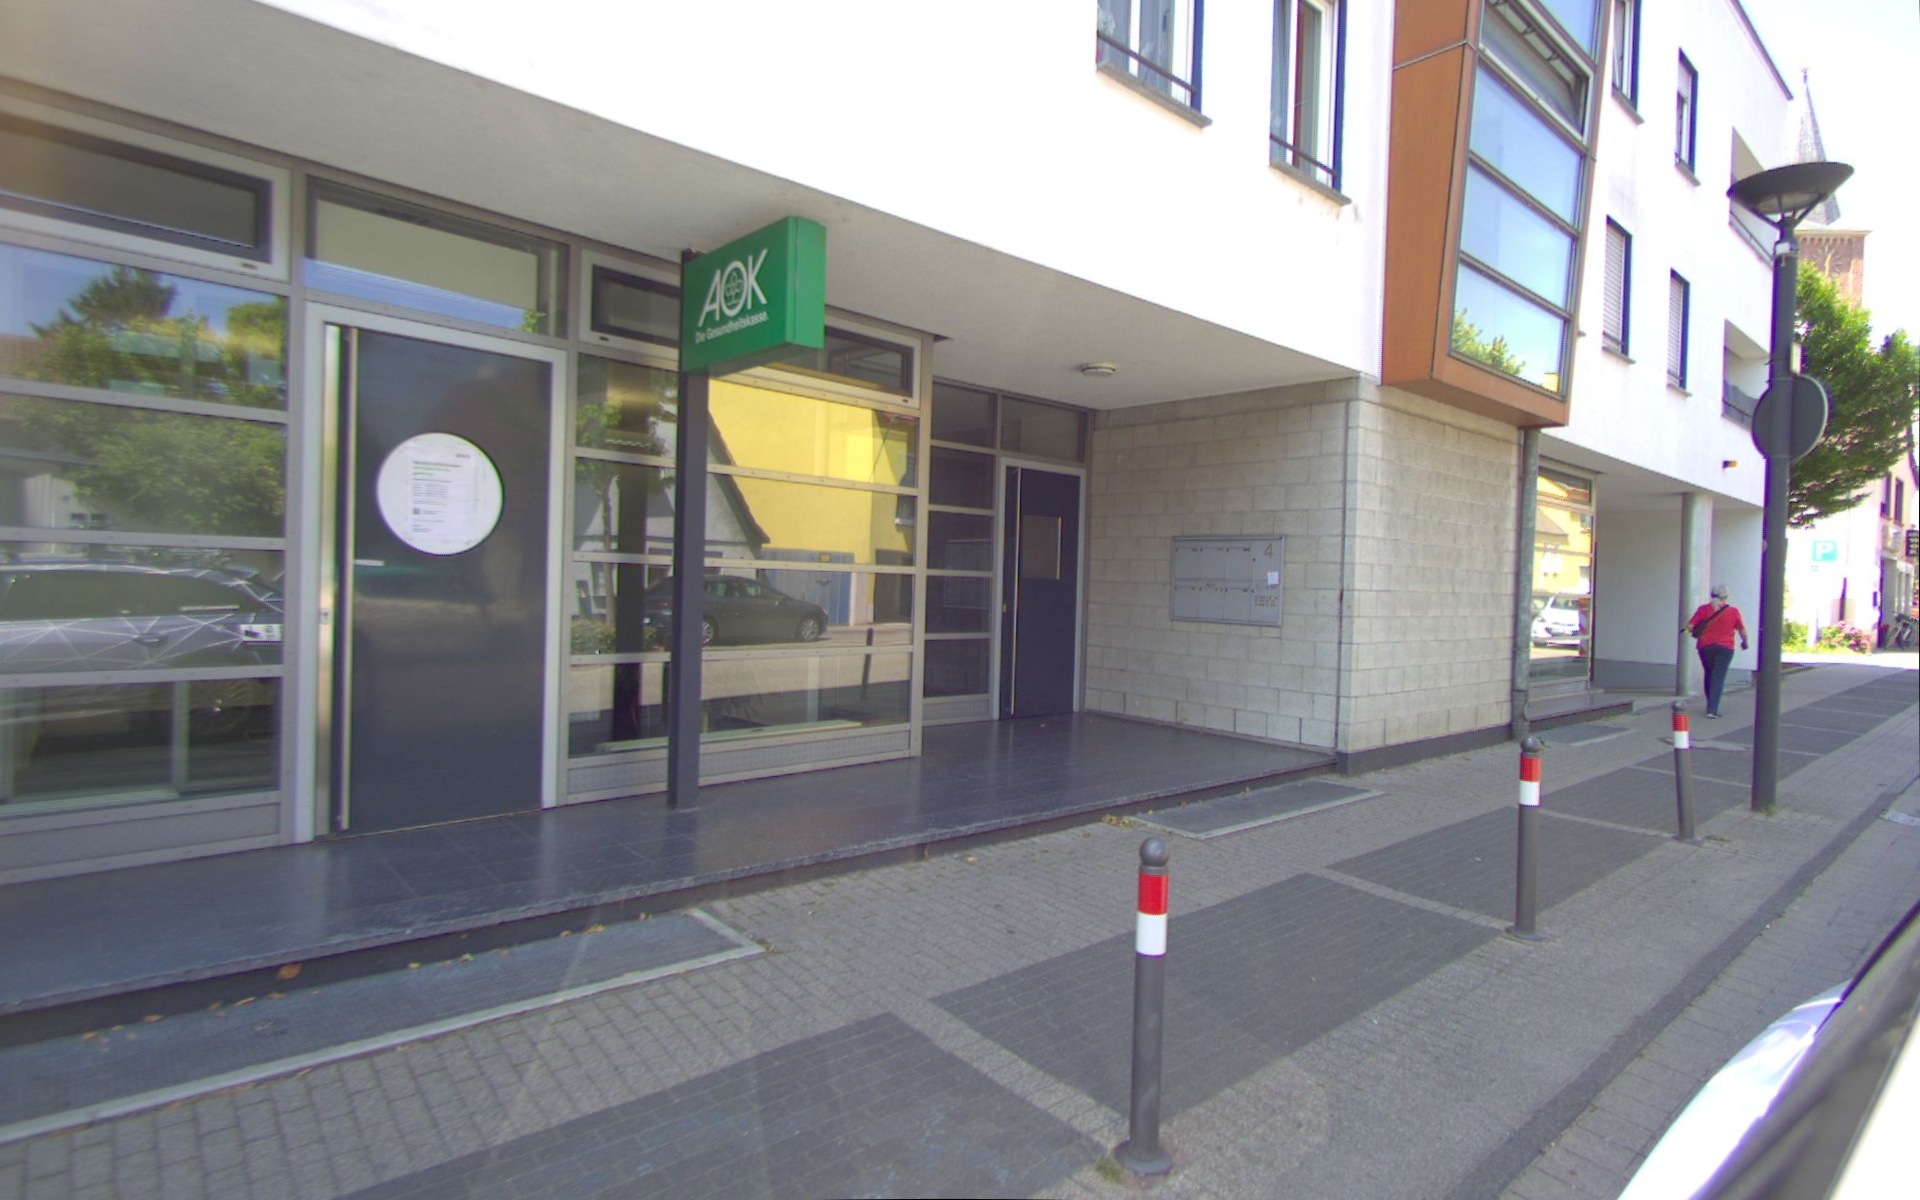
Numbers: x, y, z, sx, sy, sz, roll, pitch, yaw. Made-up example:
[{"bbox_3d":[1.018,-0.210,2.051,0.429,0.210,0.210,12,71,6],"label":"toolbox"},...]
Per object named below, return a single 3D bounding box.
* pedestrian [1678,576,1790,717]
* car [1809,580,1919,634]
[{"bbox_3d":[9.495,0.538,12.418,0.903,1.607,0.826,1,4,-41],"label":"pedestrian"},{"bbox_3d":[35.336,0.269,38.649,1.965,1.882,4.201,0,2,-41],"label":"car"}]
